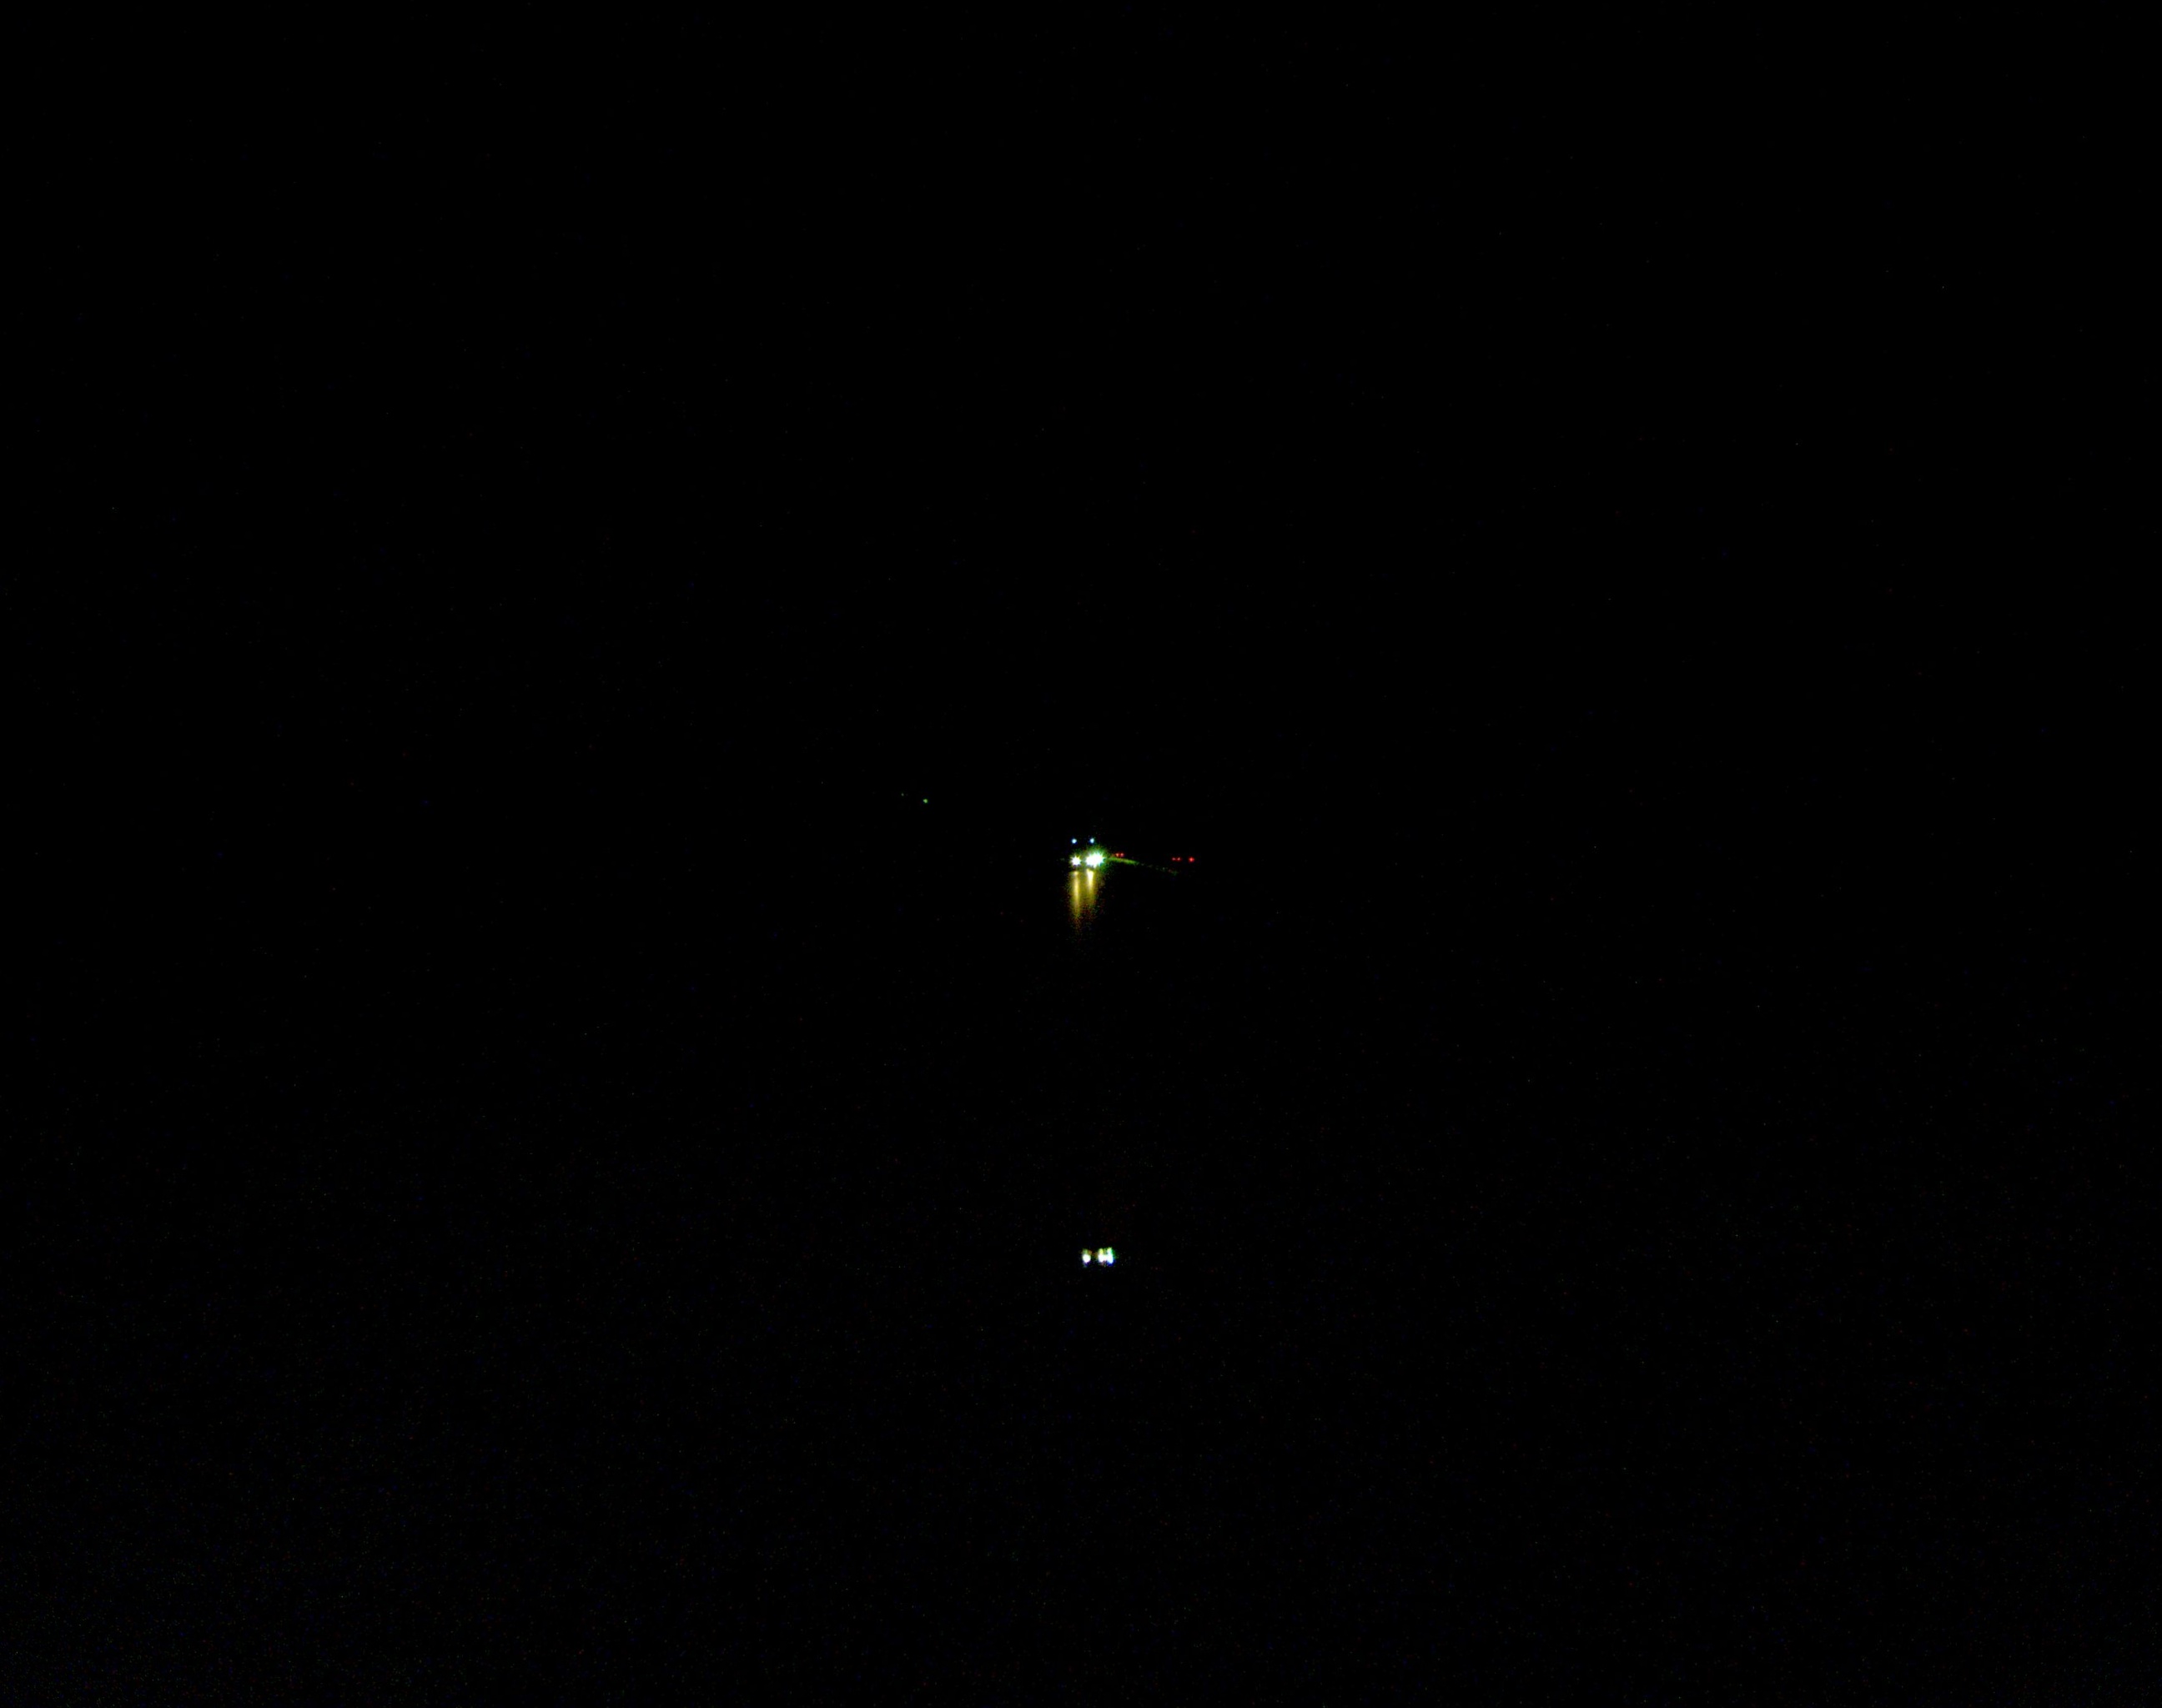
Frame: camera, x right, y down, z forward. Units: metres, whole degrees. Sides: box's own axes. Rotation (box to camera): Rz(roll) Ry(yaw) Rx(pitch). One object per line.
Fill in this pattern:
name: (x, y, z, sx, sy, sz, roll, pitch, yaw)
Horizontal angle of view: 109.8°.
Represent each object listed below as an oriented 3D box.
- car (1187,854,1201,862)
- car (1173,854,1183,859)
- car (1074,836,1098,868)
car: (21.227, 0.680, 143.046, 1.968, 1.529, 5.185, 0, 0, 2)
car: (22.951, 0.629, 179.199, 1.908, 1.275, 4.350, 0, 0, 2)
car: (0.583, -0.223, 79.816, 2.255, 3.205, 6.878, -1, 1, 1)
